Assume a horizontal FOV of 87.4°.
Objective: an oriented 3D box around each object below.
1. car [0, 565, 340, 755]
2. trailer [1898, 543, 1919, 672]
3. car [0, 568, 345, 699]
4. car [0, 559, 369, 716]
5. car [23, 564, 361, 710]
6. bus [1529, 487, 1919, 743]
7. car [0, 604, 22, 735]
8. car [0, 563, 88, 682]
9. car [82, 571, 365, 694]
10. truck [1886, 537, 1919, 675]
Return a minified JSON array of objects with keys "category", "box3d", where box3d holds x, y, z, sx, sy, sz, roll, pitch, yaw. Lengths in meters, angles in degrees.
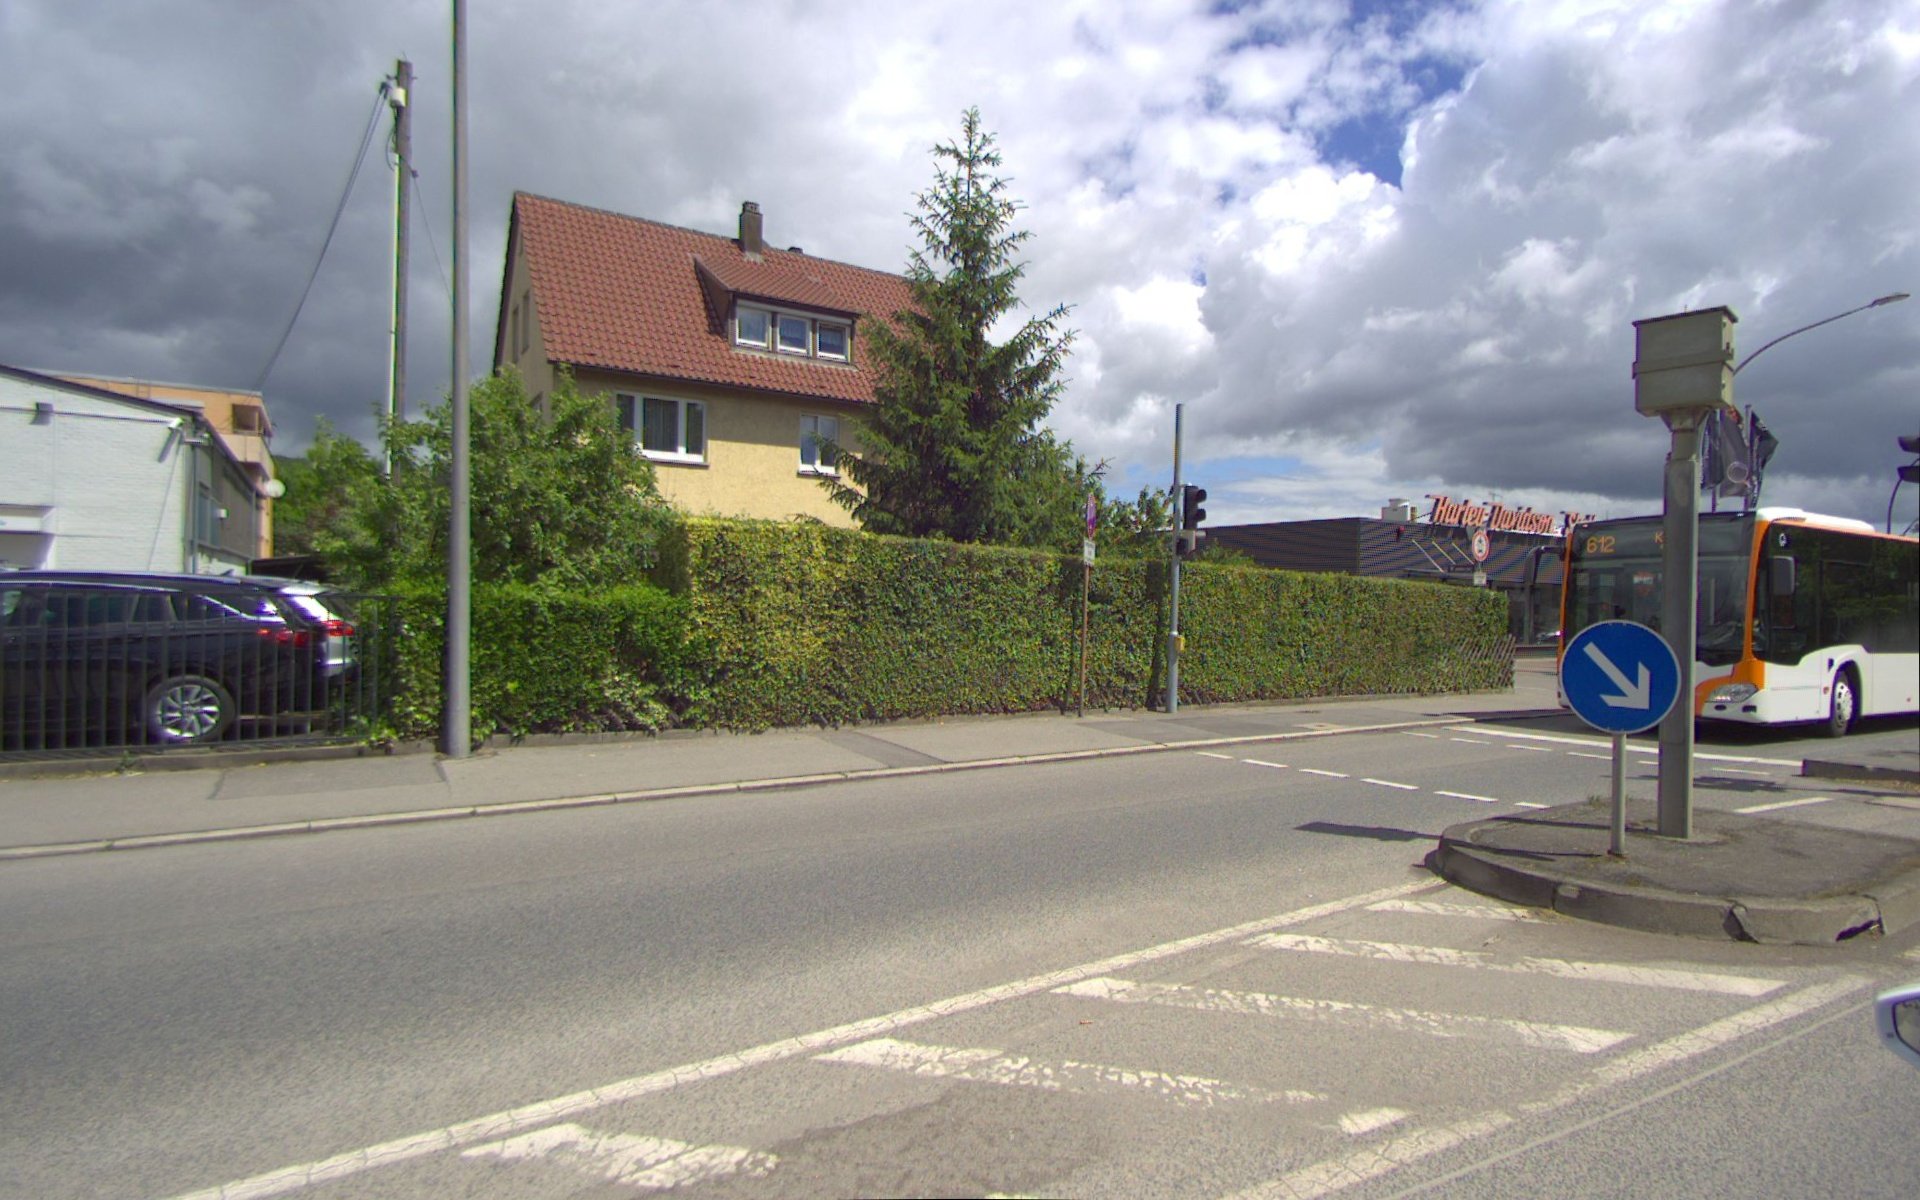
[{"category":"car","box3d":[-7.854,0.475,8.854,3.997,1.502,1.850,2,0,-31]},{"category":"trailer","box3d":[36.905,0.451,36.123,15.429,4.107,2.775,2,0,-40]},{"category":"car","box3d":[-10.722,0.433,13.629,3.953,1.569,1.984,2,0,-30]},{"category":"car","box3d":[-9.014,0.393,11.358,3.953,1.561,1.984,2,0,-30]},{"category":"car","box3d":[-11.825,0.560,15.883,3.953,2.040,1.984,2,0,-30]},{"category":"bus","box3d":[14.058,0.362,16.316,12.123,3.071,2.706,2,-1,-31]},{"category":"car","box3d":[-16.708,1.040,14.698,3.953,2.040,1.984,2,0,-30]},{"category":"car","box3d":[-17.985,0.347,17.423,3.953,2.040,1.984,2,0,-30]},{"category":"car","box3d":[-13.321,0.587,18.526,3.953,2.040,1.984,2,0,-30]},{"category":"truck","box3d":[31.566,0.267,31.556,6.448,4.107,2.775,2,0,-40]}]
